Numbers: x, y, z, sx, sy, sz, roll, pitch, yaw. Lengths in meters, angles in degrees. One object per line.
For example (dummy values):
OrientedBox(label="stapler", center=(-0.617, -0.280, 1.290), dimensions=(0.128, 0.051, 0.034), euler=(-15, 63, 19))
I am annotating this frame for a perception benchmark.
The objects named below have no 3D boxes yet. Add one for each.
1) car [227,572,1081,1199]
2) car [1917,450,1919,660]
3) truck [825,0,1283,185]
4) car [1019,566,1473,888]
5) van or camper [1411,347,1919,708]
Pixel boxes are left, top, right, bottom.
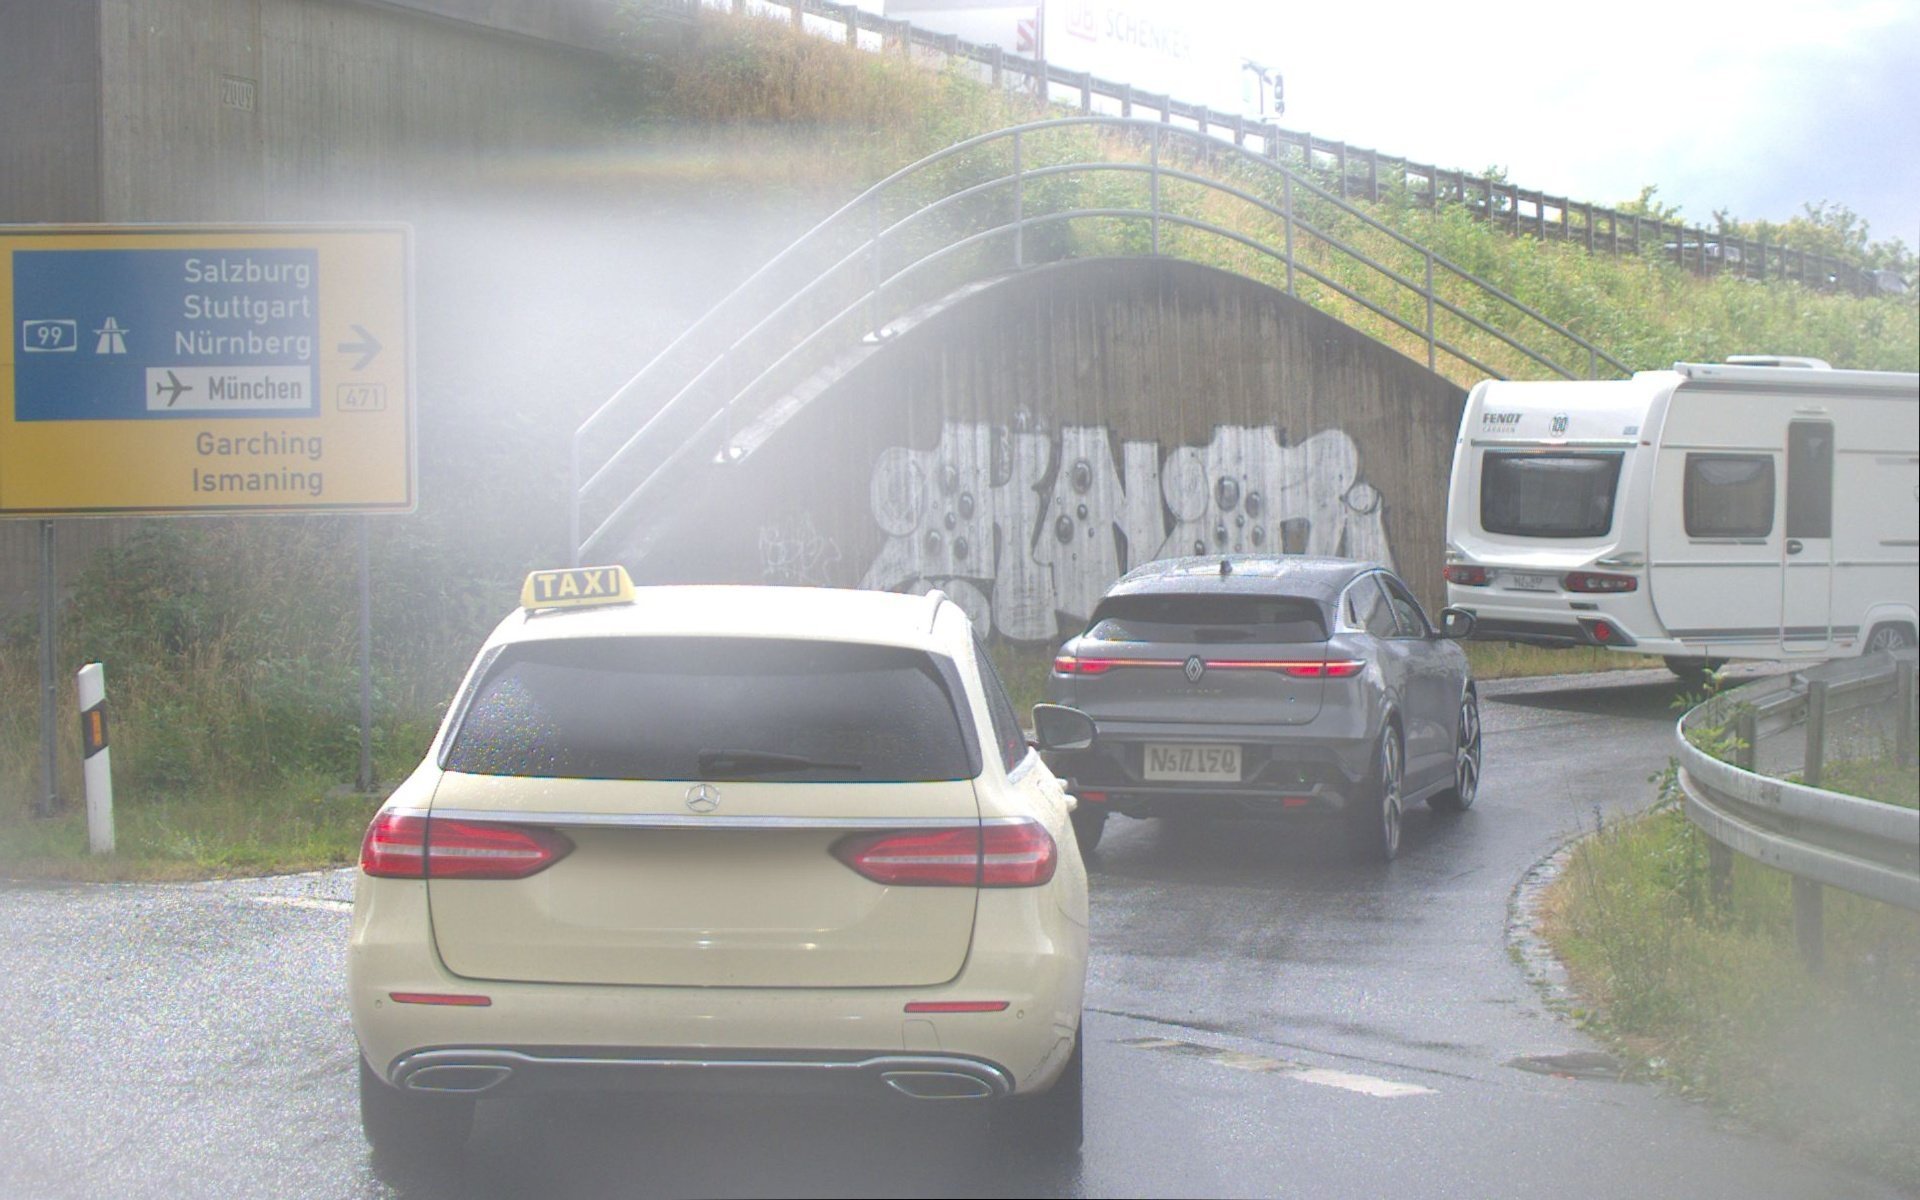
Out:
OrientedBox(label="car", center=(-0.609, 0.676, 9.979), dimensions=(1.916, 1.502, 4.596), euler=(0, 0, 2))
OrientedBox(label="car", center=(11.862, -0.461, 31.857), dimensions=(5.741, 1.919, 2.436), euler=(-2, 3, -30))
OrientedBox(label="truck", center=(1.639, -8.706, 51.385), dimensions=(3.185, 3.952, 9.223), euler=(1, 1, 27))
OrientedBox(label="car", center=(1.643, 0.587, 18.392), dimensions=(1.719, 1.519, 3.997), euler=(0, 0, 15))
OrientedBox(label="van or camper", center=(6.808, -0.672, 28.610), dimensions=(5.983, 2.720, 2.438), euler=(-2, 3, -35))
